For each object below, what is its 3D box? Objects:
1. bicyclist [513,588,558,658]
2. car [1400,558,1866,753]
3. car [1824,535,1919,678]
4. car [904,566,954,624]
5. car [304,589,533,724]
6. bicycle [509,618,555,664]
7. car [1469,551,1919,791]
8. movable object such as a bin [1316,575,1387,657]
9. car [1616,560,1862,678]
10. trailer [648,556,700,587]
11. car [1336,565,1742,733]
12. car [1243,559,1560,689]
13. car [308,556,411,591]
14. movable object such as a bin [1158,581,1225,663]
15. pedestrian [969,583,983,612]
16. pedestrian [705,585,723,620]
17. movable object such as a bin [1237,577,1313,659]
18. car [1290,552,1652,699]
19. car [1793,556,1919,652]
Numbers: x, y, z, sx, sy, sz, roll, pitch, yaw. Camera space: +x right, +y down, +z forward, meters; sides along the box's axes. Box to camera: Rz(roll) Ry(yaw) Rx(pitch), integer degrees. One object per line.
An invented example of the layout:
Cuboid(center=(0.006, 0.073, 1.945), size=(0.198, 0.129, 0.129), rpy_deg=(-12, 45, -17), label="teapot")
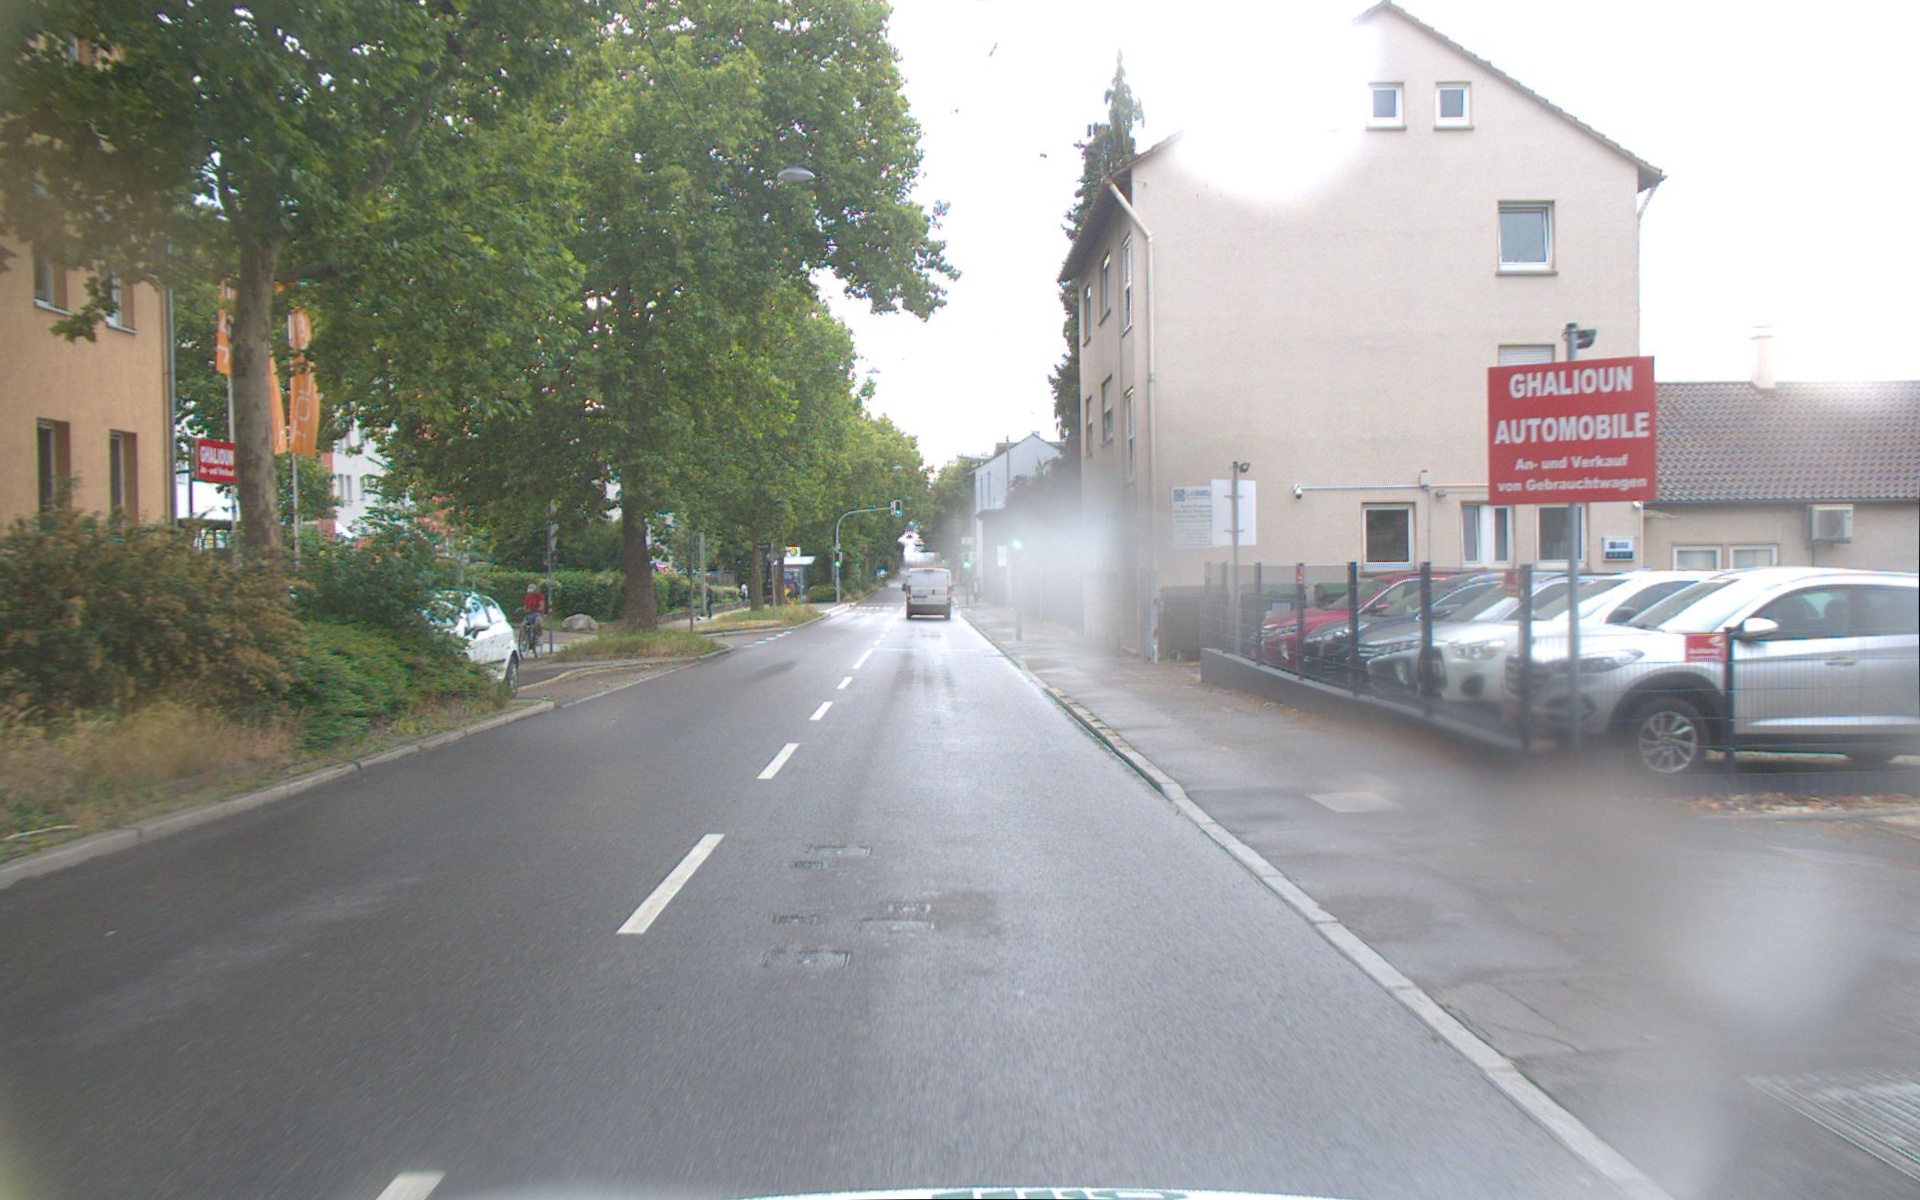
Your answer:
Cuboid(center=(-9.798, 0.528, 38.174), size=(0.816, 1.580, 0.816), rpy_deg=(1, -1, -2), label="bicyclist")
Cuboid(center=(6.524, 0.520, 16.323), size=(3.869, 1.754, 1.791), rpy_deg=(1, 0, -2), label="car")
Cuboid(center=(15.146, 0.132, 24.788), size=(3.508, 2.049, 1.723), rpy_deg=(1, -1, -4), label="car")
Cuboid(center=(-1.403, -0.209, 75.639), size=(2.236, 2.597, 3.999), rpy_deg=(0, -1, -1), label="car")
Cuboid(center=(-7.046, 0.664, 21.996), size=(1.750, 1.578, 4.350), rpy_deg=(0, 1, -2), label="car")
Cuboid(center=(-9.812, 0.927, 37.964), size=(0.543, 1.013, 2.264), rpy_deg=(1, -1, -3), label="bicycle")
Cuboid(center=(6.627, 0.565, 13.676), size=(4.215, 1.799, 1.999), rpy_deg=(1, -1, -2), label="car")
Cuboid(center=(7.696, 0.313, 32.557), size=(1.088, 1.536, 1.009), rpy_deg=(-2, -1, -2), label="movable object such as a bin")
Cuboid(center=(11.151, 0.279, 23.958), size=(1.771, 1.557, 3.626), rpy_deg=(1, -1, -2), label="car")
Cuboid(center=(-15.988, -1.610, 92.595), size=(2.649, 1.674, 1.480), rpy_deg=(1, 0, -1), label="trailer")
Cuboid(center=(6.534, 0.546, 18.961), size=(3.984, 1.767, 1.869), rpy_deg=(1, -1, -2), label="car")
Cuboid(center=(6.424, 0.353, 24.360), size=(4.143, 1.767, 1.869), rpy_deg=(1, -1, -2), label="car")
Cuboid(center=(-26.881, -1.169, 74.115), size=(3.905, 1.439, 1.849), rpy_deg=(1, -1, 1), label="car")
Cuboid(center=(4.550, 0.429, 32.546), size=(1.088, 1.536, 0.986), rpy_deg=(-2, -1, -2), label="movable object such as a bin")
Cuboid(center=(1.010, -0.146, 102.393), size=(0.728, 1.734, 0.900), rpy_deg=(1, -1, -7), label="pedestrian")
Cuboid(center=(-11.473, 0.120, 77.225), size=(0.741, 1.639, 0.834), rpy_deg=(1, -1, -6), label="pedestrian")
Cuboid(center=(6.180, 0.357, 32.515), size=(1.209, 1.536, 1.110), rpy_deg=(-2, -1, -2), label="movable object such as a bin")
Cuboid(center=(6.583, 0.335, 21.628), size=(4.143, 1.767, 1.869), rpy_deg=(1, -1, -2), label="car")
Cuboid(center=(16.858, 0.090, 28.835), size=(3.903, 1.621, 1.822), rpy_deg=(1, -1, 16), label="car")
